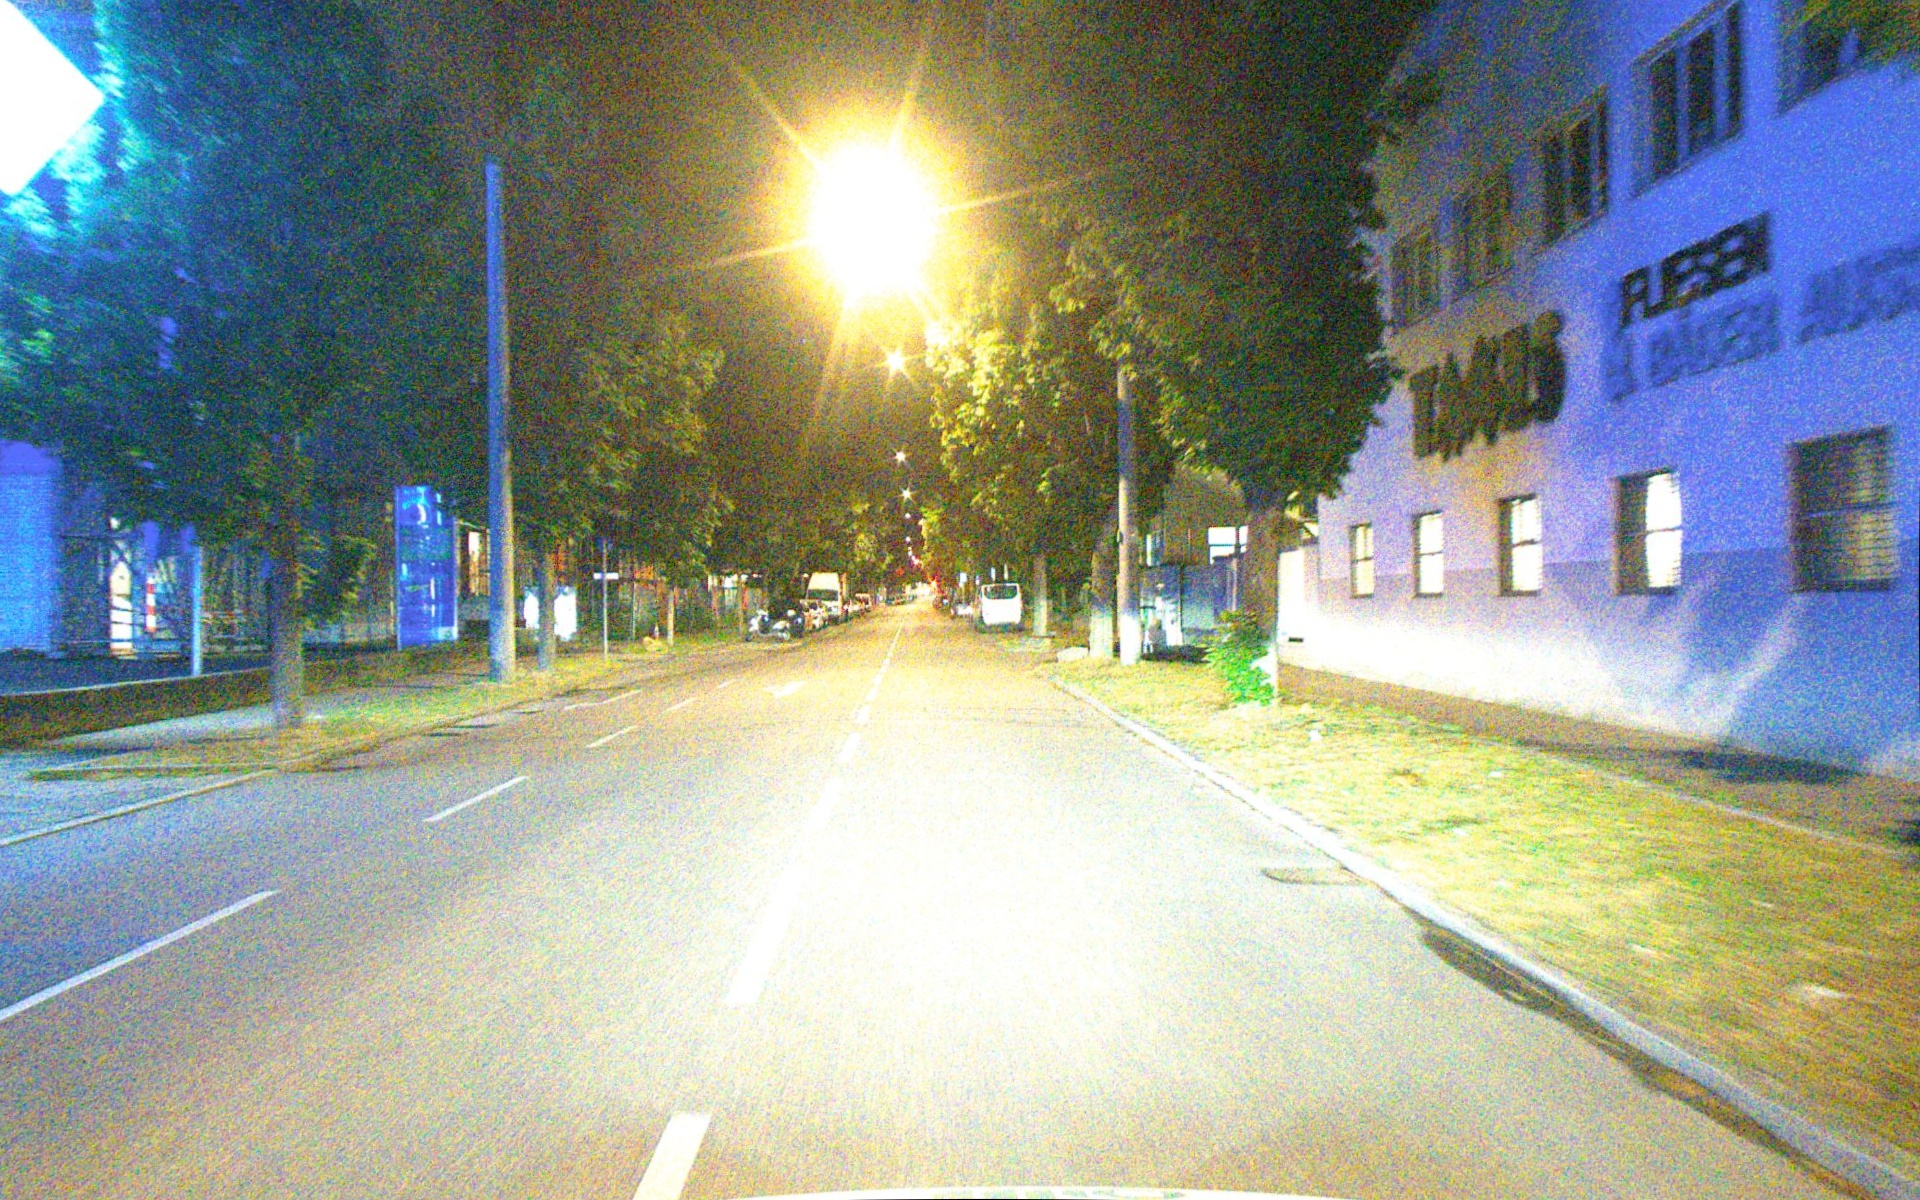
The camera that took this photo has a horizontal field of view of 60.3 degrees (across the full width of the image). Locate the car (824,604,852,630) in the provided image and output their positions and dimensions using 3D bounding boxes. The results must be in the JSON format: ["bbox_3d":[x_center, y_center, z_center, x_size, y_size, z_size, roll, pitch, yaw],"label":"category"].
[{"bbox_3d":[-7.870,1.103,107.013,1.707,1.634,4.295,0,0,-3],"label":"car"}]

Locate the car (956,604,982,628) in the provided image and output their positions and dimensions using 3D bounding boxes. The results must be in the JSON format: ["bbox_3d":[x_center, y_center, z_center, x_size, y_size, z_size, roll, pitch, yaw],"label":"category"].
[{"bbox_3d":[0.629,1.075,112.241,1.634,1.454,4.148,-3,0,1],"label":"car"}]

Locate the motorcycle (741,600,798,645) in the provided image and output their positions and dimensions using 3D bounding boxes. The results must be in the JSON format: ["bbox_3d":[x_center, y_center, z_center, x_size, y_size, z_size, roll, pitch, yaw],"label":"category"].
[{"bbox_3d":[-6.752,0.794,58.575,1.875,1.577,0.635,1,-1,-22],"label":"motorcycle"}]

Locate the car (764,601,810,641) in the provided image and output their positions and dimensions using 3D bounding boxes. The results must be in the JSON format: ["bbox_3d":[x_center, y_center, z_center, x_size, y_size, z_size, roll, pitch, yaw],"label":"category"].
[{"bbox_3d":[-7.087,0.842,67.912,1.609,1.531,3.902,1,0,-2],"label":"car"}]

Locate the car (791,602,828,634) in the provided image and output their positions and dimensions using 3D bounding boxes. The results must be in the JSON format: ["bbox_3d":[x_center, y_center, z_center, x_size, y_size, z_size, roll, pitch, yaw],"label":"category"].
[{"bbox_3d":[-7.170,0.844,78.997,1.516,1.481,3.366,1,0,-2],"label":"car"}]

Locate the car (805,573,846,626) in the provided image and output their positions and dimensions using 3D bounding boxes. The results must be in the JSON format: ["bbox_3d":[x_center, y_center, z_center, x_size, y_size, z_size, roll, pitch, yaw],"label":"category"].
[{"bbox_3d":[-7.751,-0.030,95.826,2.135,2.960,4.907,1,0,-2],"label":"car"}]

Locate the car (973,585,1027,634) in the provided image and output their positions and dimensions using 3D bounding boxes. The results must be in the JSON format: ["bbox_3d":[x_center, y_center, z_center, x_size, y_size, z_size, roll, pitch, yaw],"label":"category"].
[{"bbox_3d":[1.662,0.390,70.166,1.912,1.998,4.601,0,0,-3],"label":"car"}]

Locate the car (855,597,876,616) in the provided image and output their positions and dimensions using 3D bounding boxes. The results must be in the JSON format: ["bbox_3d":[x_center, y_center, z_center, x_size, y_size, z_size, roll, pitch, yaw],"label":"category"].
[{"bbox_3d":[-9.505,0.647,166.243,1.785,1.843,4.209,3,0,0],"label":"car"}]

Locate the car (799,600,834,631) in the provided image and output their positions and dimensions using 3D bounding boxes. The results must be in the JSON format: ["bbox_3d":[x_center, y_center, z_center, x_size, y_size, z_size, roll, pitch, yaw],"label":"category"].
[{"bbox_3d":[-7.244,0.771,83.794,1.613,1.531,3.858,0,0,-3],"label":"car"}]

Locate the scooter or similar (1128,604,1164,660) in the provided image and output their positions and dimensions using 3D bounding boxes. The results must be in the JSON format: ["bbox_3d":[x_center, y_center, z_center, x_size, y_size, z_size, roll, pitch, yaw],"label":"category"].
[{"bbox_3d":[4.179,0.726,37.288,0.536,1.224,1.910,1,-2,-2],"label":"scooter or similar"}]

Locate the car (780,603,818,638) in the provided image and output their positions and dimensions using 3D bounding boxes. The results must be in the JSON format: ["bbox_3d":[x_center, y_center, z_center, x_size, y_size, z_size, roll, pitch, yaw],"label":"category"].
[{"bbox_3d":[-7.092,0.872,73.122,1.416,1.454,3.902,2,0,-2],"label":"car"}]

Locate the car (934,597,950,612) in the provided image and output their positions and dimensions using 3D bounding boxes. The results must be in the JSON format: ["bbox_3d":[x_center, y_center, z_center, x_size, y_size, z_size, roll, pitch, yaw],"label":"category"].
[{"bbox_3d":[-1.997,0.484,182.871,1.815,1.683,4.208,0,0,-1],"label":"car"}]

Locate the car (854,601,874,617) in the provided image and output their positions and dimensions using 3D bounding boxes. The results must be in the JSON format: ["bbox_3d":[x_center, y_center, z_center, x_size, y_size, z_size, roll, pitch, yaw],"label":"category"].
[{"bbox_3d":[-9.403,0.905,161.849,1.665,1.458,3.828,3,0,0],"label":"car"}]

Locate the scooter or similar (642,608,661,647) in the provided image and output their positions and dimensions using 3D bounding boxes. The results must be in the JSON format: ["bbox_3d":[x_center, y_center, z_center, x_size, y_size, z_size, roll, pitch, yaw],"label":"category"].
[{"bbox_3d":[-9.832,0.876,52.767,0.359,1.225,1.427,-1,-1,-1],"label":"scooter or similar"}]

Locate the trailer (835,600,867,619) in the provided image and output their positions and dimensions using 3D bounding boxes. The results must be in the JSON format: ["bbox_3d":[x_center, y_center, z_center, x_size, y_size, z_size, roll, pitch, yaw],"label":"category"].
[{"bbox_3d":[-8.241,0.740,125.355,2.067,1.358,5.434,2,0,0],"label":"trailer"}]
